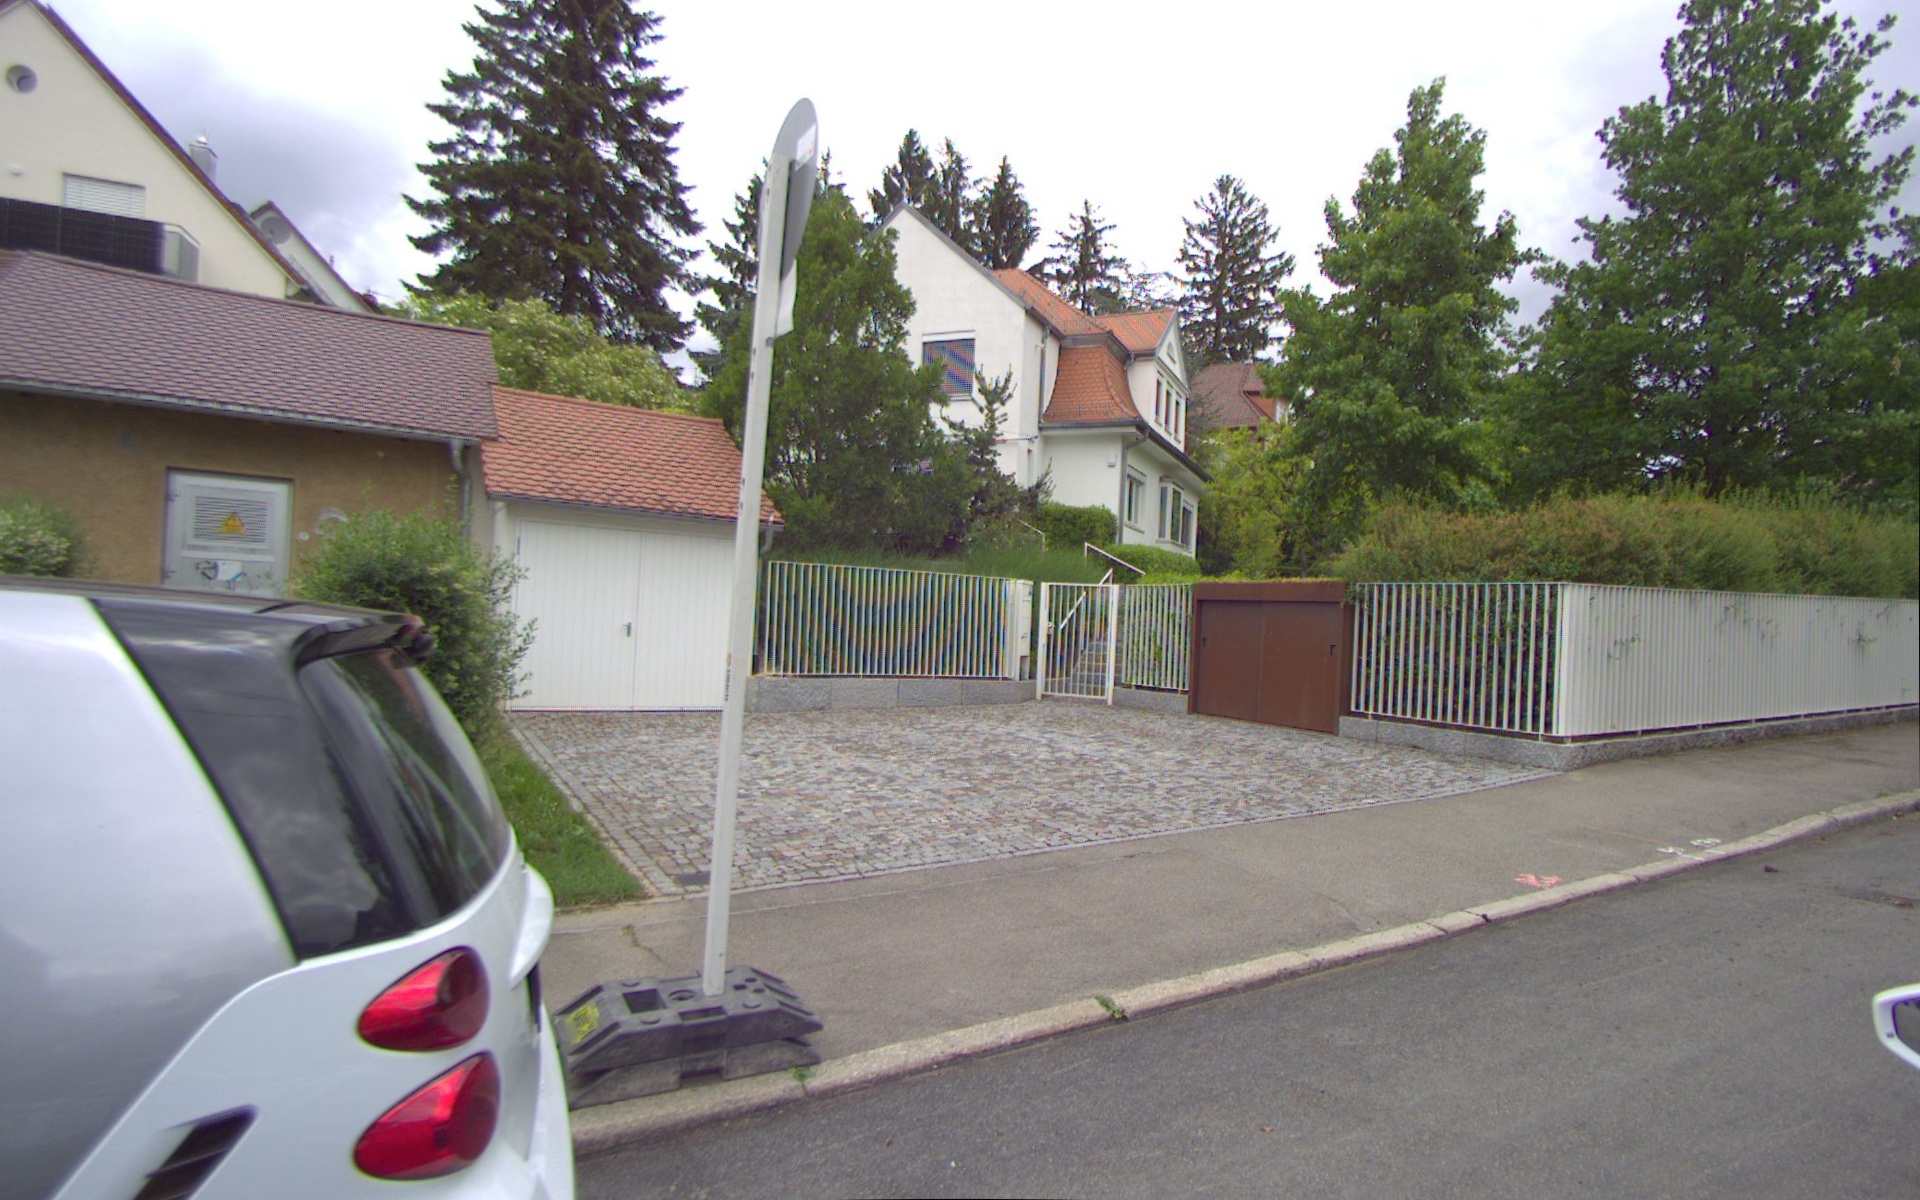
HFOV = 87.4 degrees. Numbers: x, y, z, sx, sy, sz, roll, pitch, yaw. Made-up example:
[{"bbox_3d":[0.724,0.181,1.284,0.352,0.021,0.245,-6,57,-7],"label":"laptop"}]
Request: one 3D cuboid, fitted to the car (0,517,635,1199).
[{"bbox_3d":[-1.928,0.727,1.317,2.731,1.572,1.439,1,-3,-24],"label":"car"}]
